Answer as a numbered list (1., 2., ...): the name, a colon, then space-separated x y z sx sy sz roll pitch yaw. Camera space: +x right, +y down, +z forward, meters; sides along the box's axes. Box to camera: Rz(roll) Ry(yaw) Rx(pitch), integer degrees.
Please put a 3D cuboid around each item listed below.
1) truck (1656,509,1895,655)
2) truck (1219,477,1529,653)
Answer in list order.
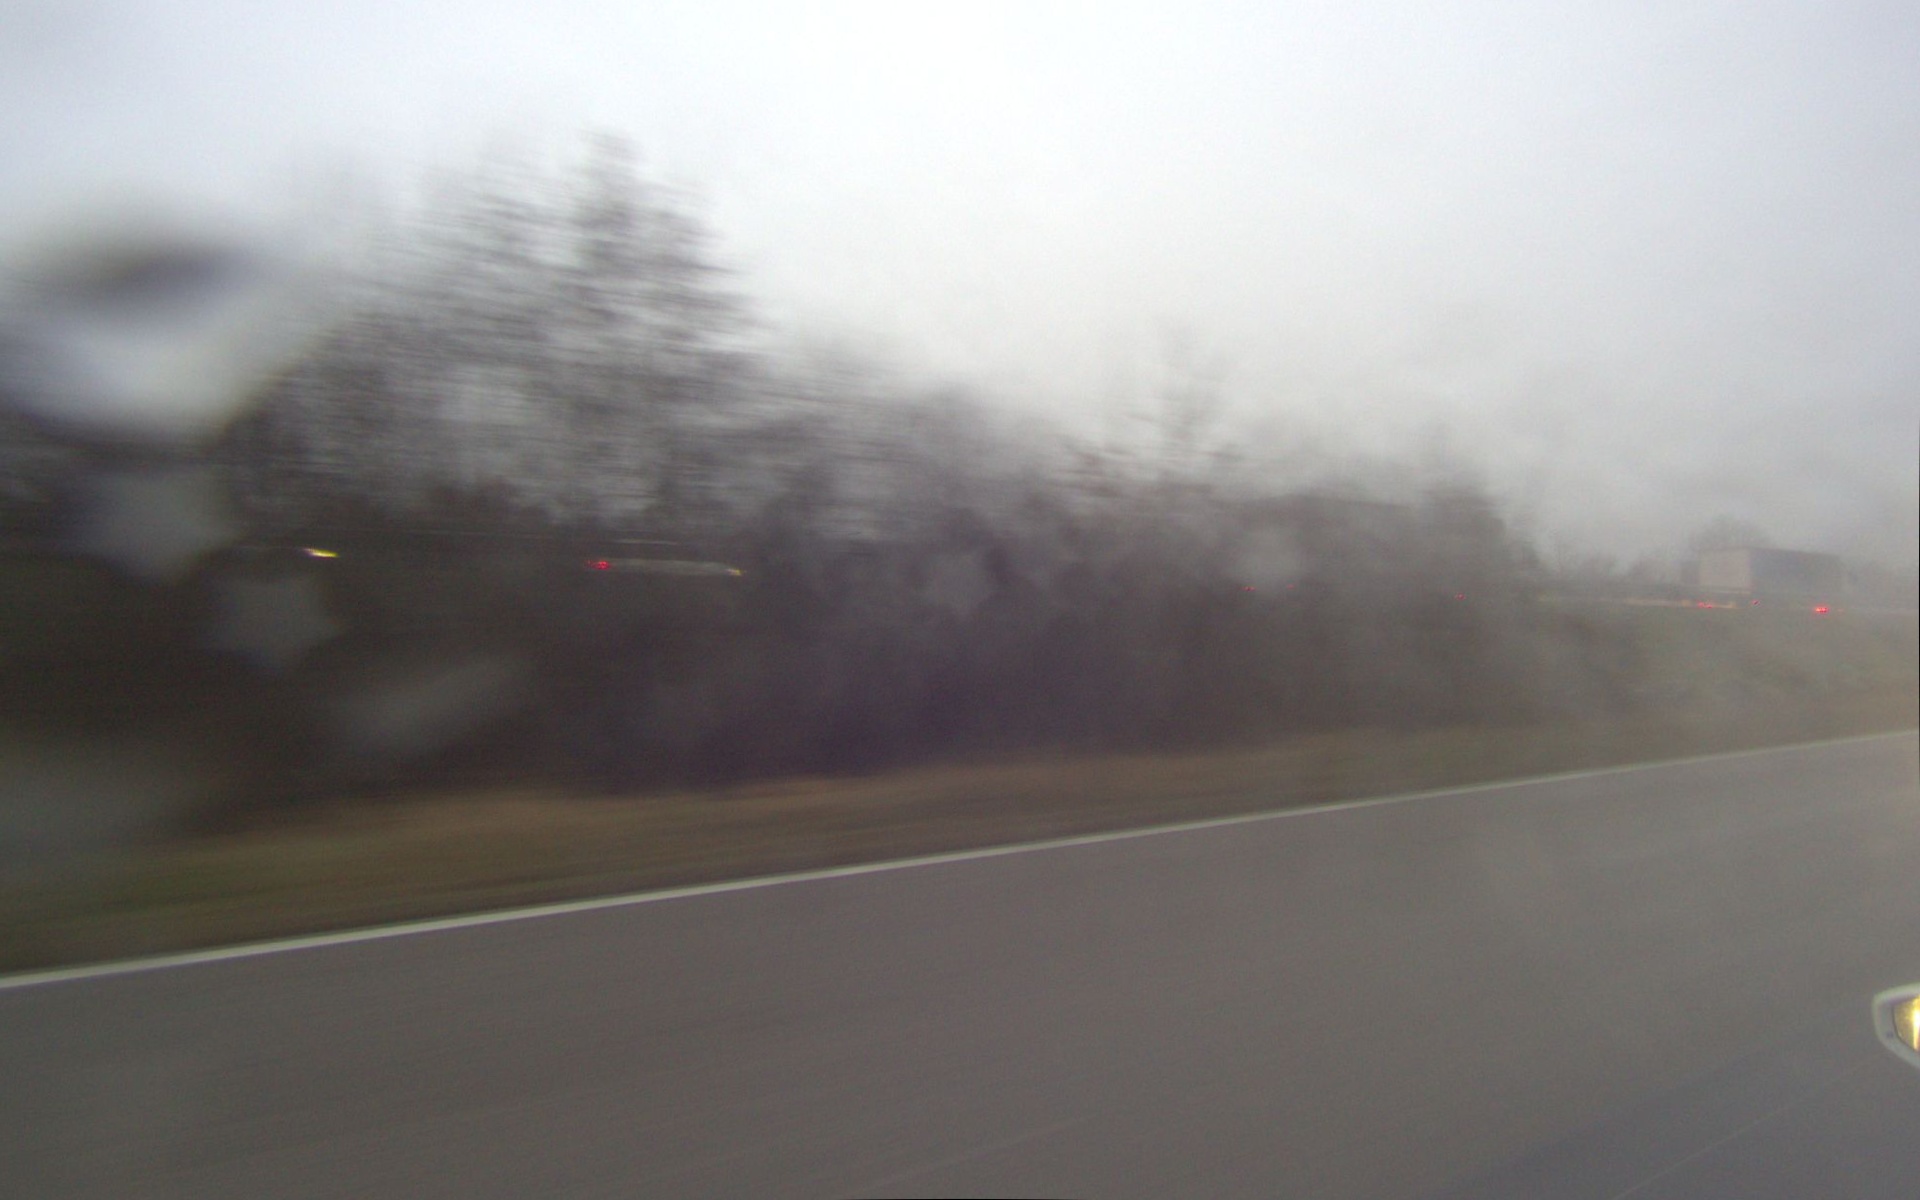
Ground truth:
1. truck: 58.236 -0.562 70.144 39.862 7.815 7.472 2 0 -43
2. truck: 17.740 -1.084 42.094 15.569 6.372 3.742 2 0 -33
